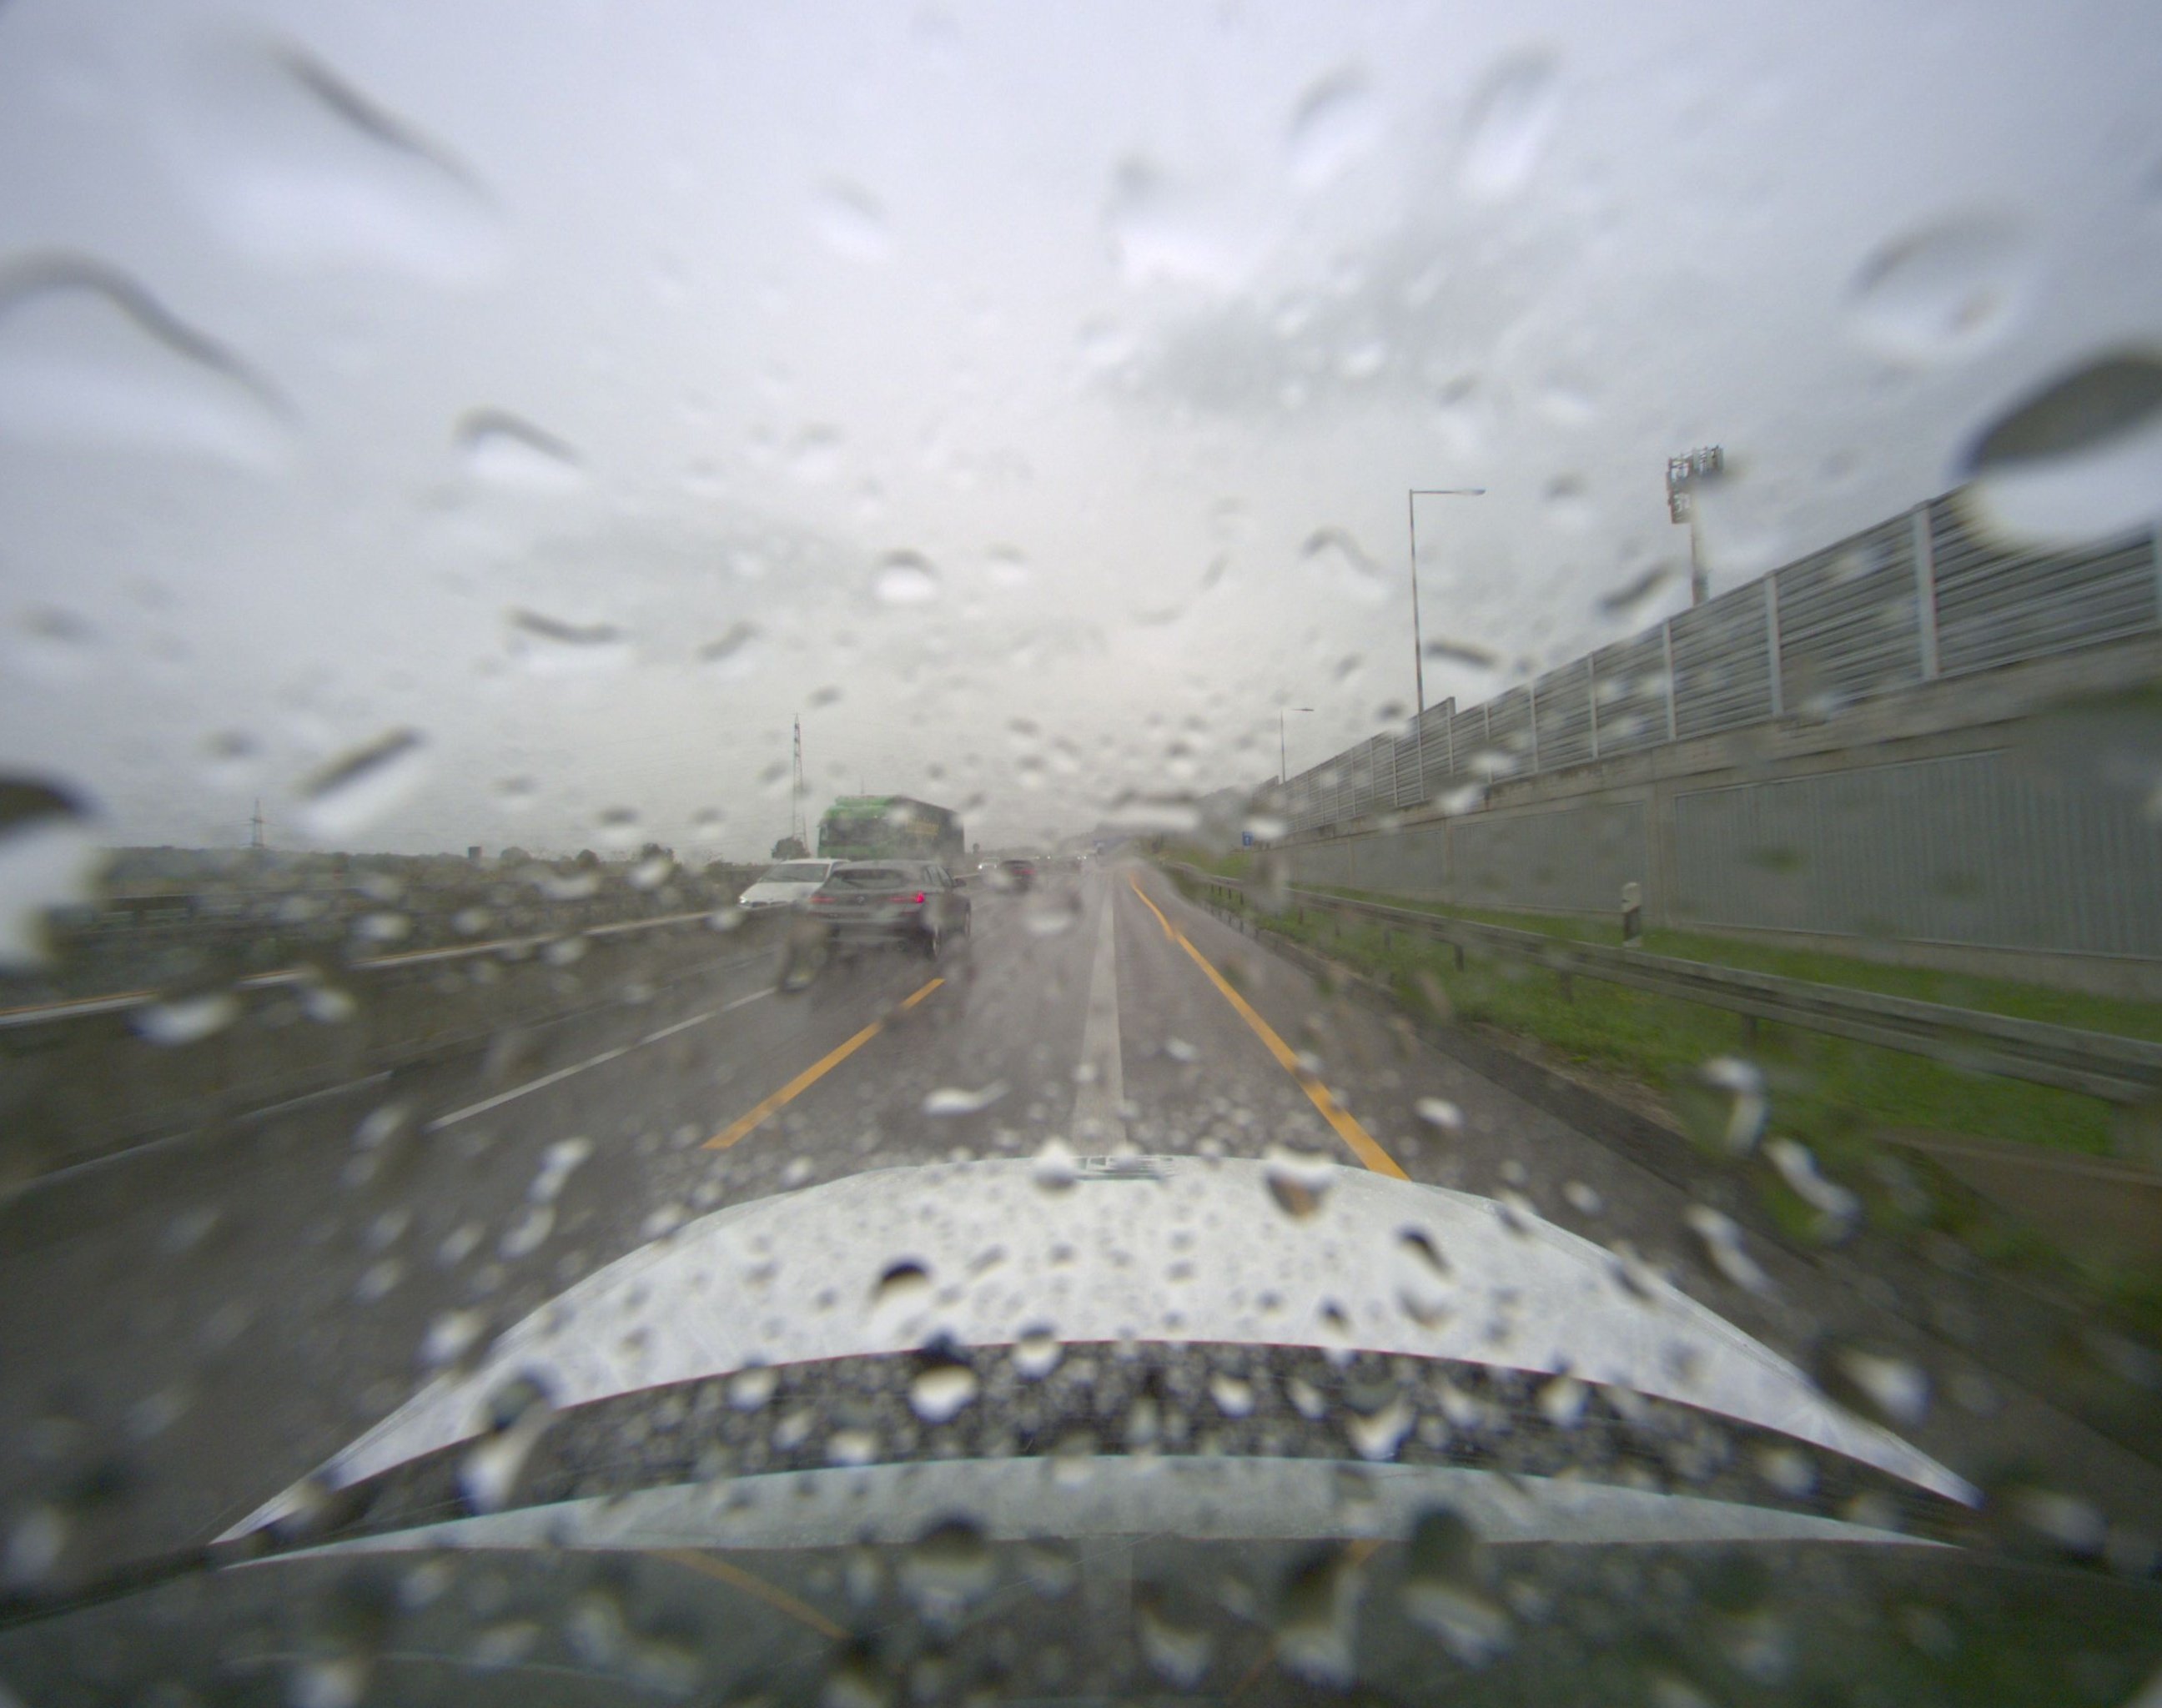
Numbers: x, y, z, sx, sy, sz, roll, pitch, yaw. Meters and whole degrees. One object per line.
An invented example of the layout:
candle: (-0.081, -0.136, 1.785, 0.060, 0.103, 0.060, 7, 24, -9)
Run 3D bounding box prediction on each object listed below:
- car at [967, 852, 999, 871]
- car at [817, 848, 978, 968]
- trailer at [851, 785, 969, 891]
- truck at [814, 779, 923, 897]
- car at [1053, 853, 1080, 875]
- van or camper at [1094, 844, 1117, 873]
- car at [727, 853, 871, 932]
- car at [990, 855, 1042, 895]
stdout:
car: (-7.910, 0.578, 65.853, 1.721, 1.437, 5.440, 0, 0, 2)
car: (-2.785, 0.788, 13.448, 1.696, 1.598, 4.841, -1, -1, -2)
trailer: (-8.216, -0.673, 41.431, 2.571, 4.457, 13.560, -1, 0, 2)
truck: (-8.561, -0.599, 33.599, 2.598, 4.388, 6.293, -1, 0, 2)
car: (-1.096, 0.730, 60.437, 1.839, 1.491, 4.259, -3, 0, -2)
van or camper: (2.383, 0.446, 80.273, 1.991, 2.778, 4.046, 0, -2, -2)
car: (-6.277, 0.837, 18.687, 1.694, 1.598, 4.322, -1, -1, 2)
car: (-2.544, 0.828, 32.579, 1.839, 1.491, 4.258, -1, -1, -2)
